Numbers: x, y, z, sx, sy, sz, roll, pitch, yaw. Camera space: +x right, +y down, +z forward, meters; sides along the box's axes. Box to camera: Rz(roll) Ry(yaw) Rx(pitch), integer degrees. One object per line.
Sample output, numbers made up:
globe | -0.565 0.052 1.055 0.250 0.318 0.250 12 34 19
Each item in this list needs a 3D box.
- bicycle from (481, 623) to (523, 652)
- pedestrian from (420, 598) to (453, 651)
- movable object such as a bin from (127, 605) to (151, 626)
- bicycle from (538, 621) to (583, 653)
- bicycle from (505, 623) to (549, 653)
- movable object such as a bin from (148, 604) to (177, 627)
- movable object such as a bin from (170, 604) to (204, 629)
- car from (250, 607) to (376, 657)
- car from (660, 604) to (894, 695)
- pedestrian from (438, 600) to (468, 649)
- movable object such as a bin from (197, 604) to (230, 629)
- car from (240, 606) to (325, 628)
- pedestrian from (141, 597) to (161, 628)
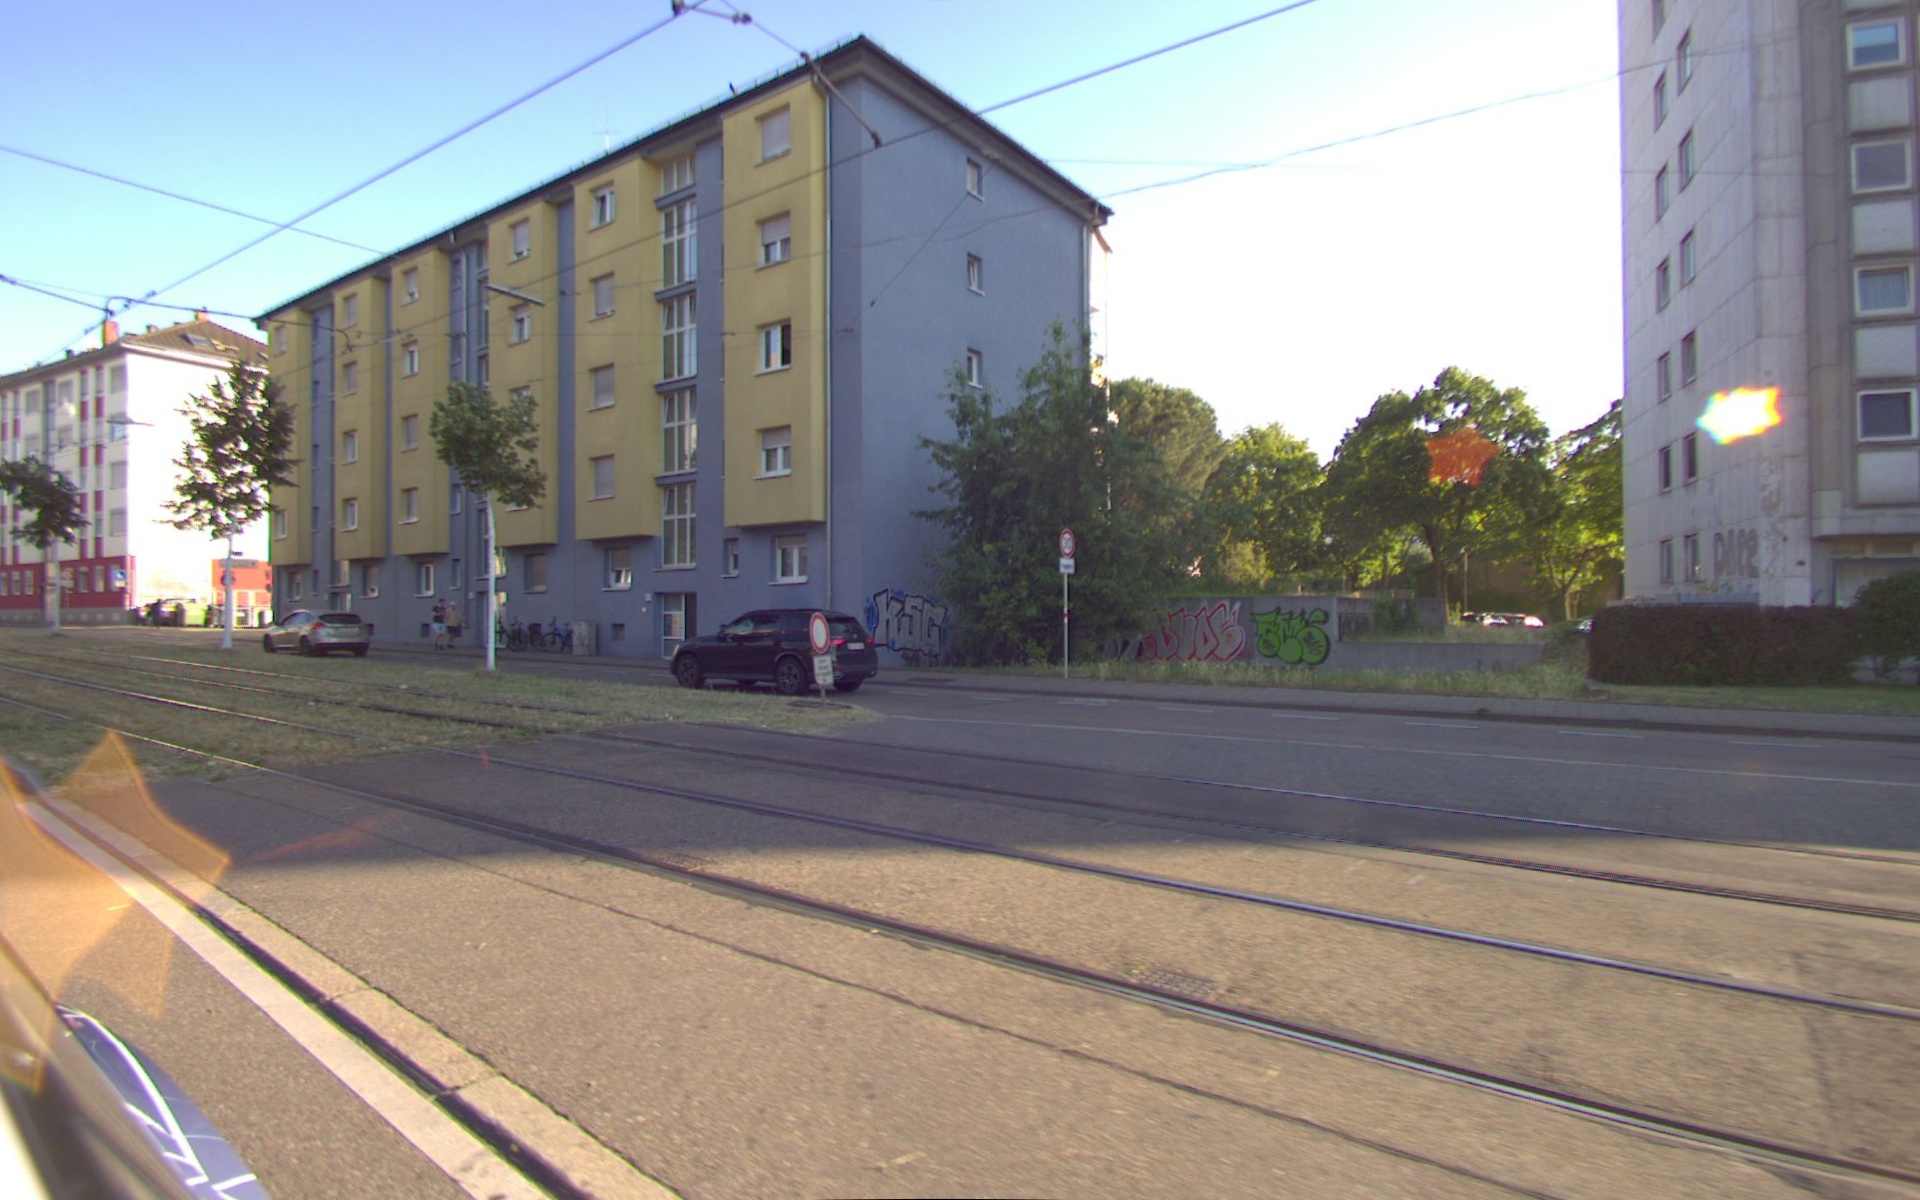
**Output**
bicycle | -15.710 1.272 34.693 1.908 0.932 0.423 0 2 36
pedestrian | -18.477 0.857 35.717 0.883 1.786 0.588 -1 3 34
movable object such as a bin | -47.101 0.886 58.055 0.803 1.235 0.860 0 -1 30
bicycle | -13.022 1.193 32.950 1.908 0.967 0.423 0 -1 36
bicycle | -14.598 1.270 34.069 1.908 0.932 0.423 0 3 36
movable object such as a bin | -46.525 0.886 59.040 0.803 1.296 1.150 0 -1 30
movable object such as a bin | -44.880 0.943 58.752 1.134 1.426 1.208 0 -1 30
car | -20.577 0.989 32.126 4.302 1.471 1.684 0 -2 33
car | -3.783 0.967 20.627 4.695 1.674 1.902 -1 -2 33
pedestrian | -18.288 0.880 36.511 0.704 1.707 0.611 -1 3 34
movable object such as a bin | -44.198 0.957 59.919 1.104 1.426 1.208 0 -1 30
car | -40.215 0.992 60.152 1.696 1.303 3.833 0 0 31
pedestrian | -43.994 0.680 55.012 0.788 1.702 0.609 -1 0 29
